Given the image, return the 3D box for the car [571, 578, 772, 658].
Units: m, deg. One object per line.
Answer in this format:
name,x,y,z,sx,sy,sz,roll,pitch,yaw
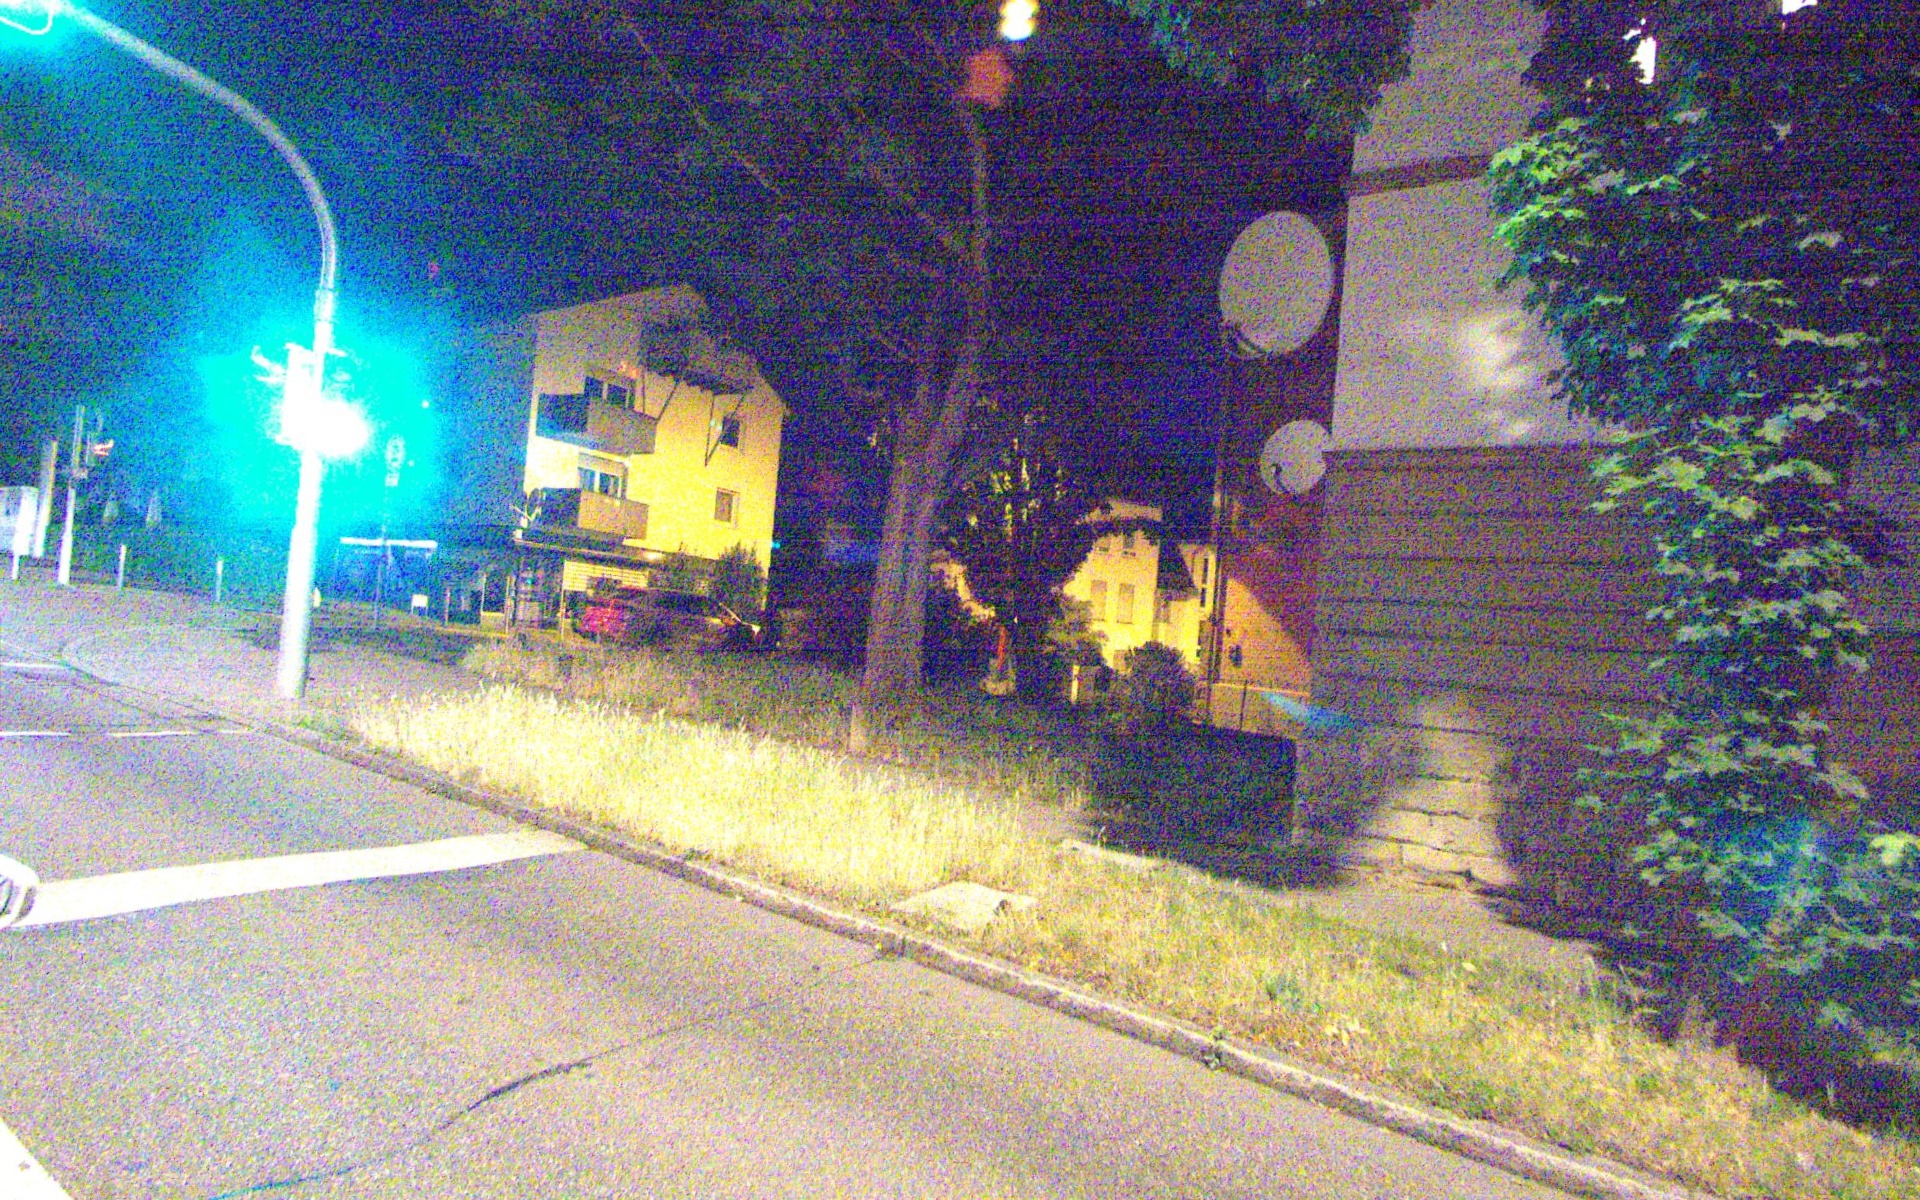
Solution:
car,-6.544,0.457,23.174,1.740,1.295,4.131,6,-3,39
